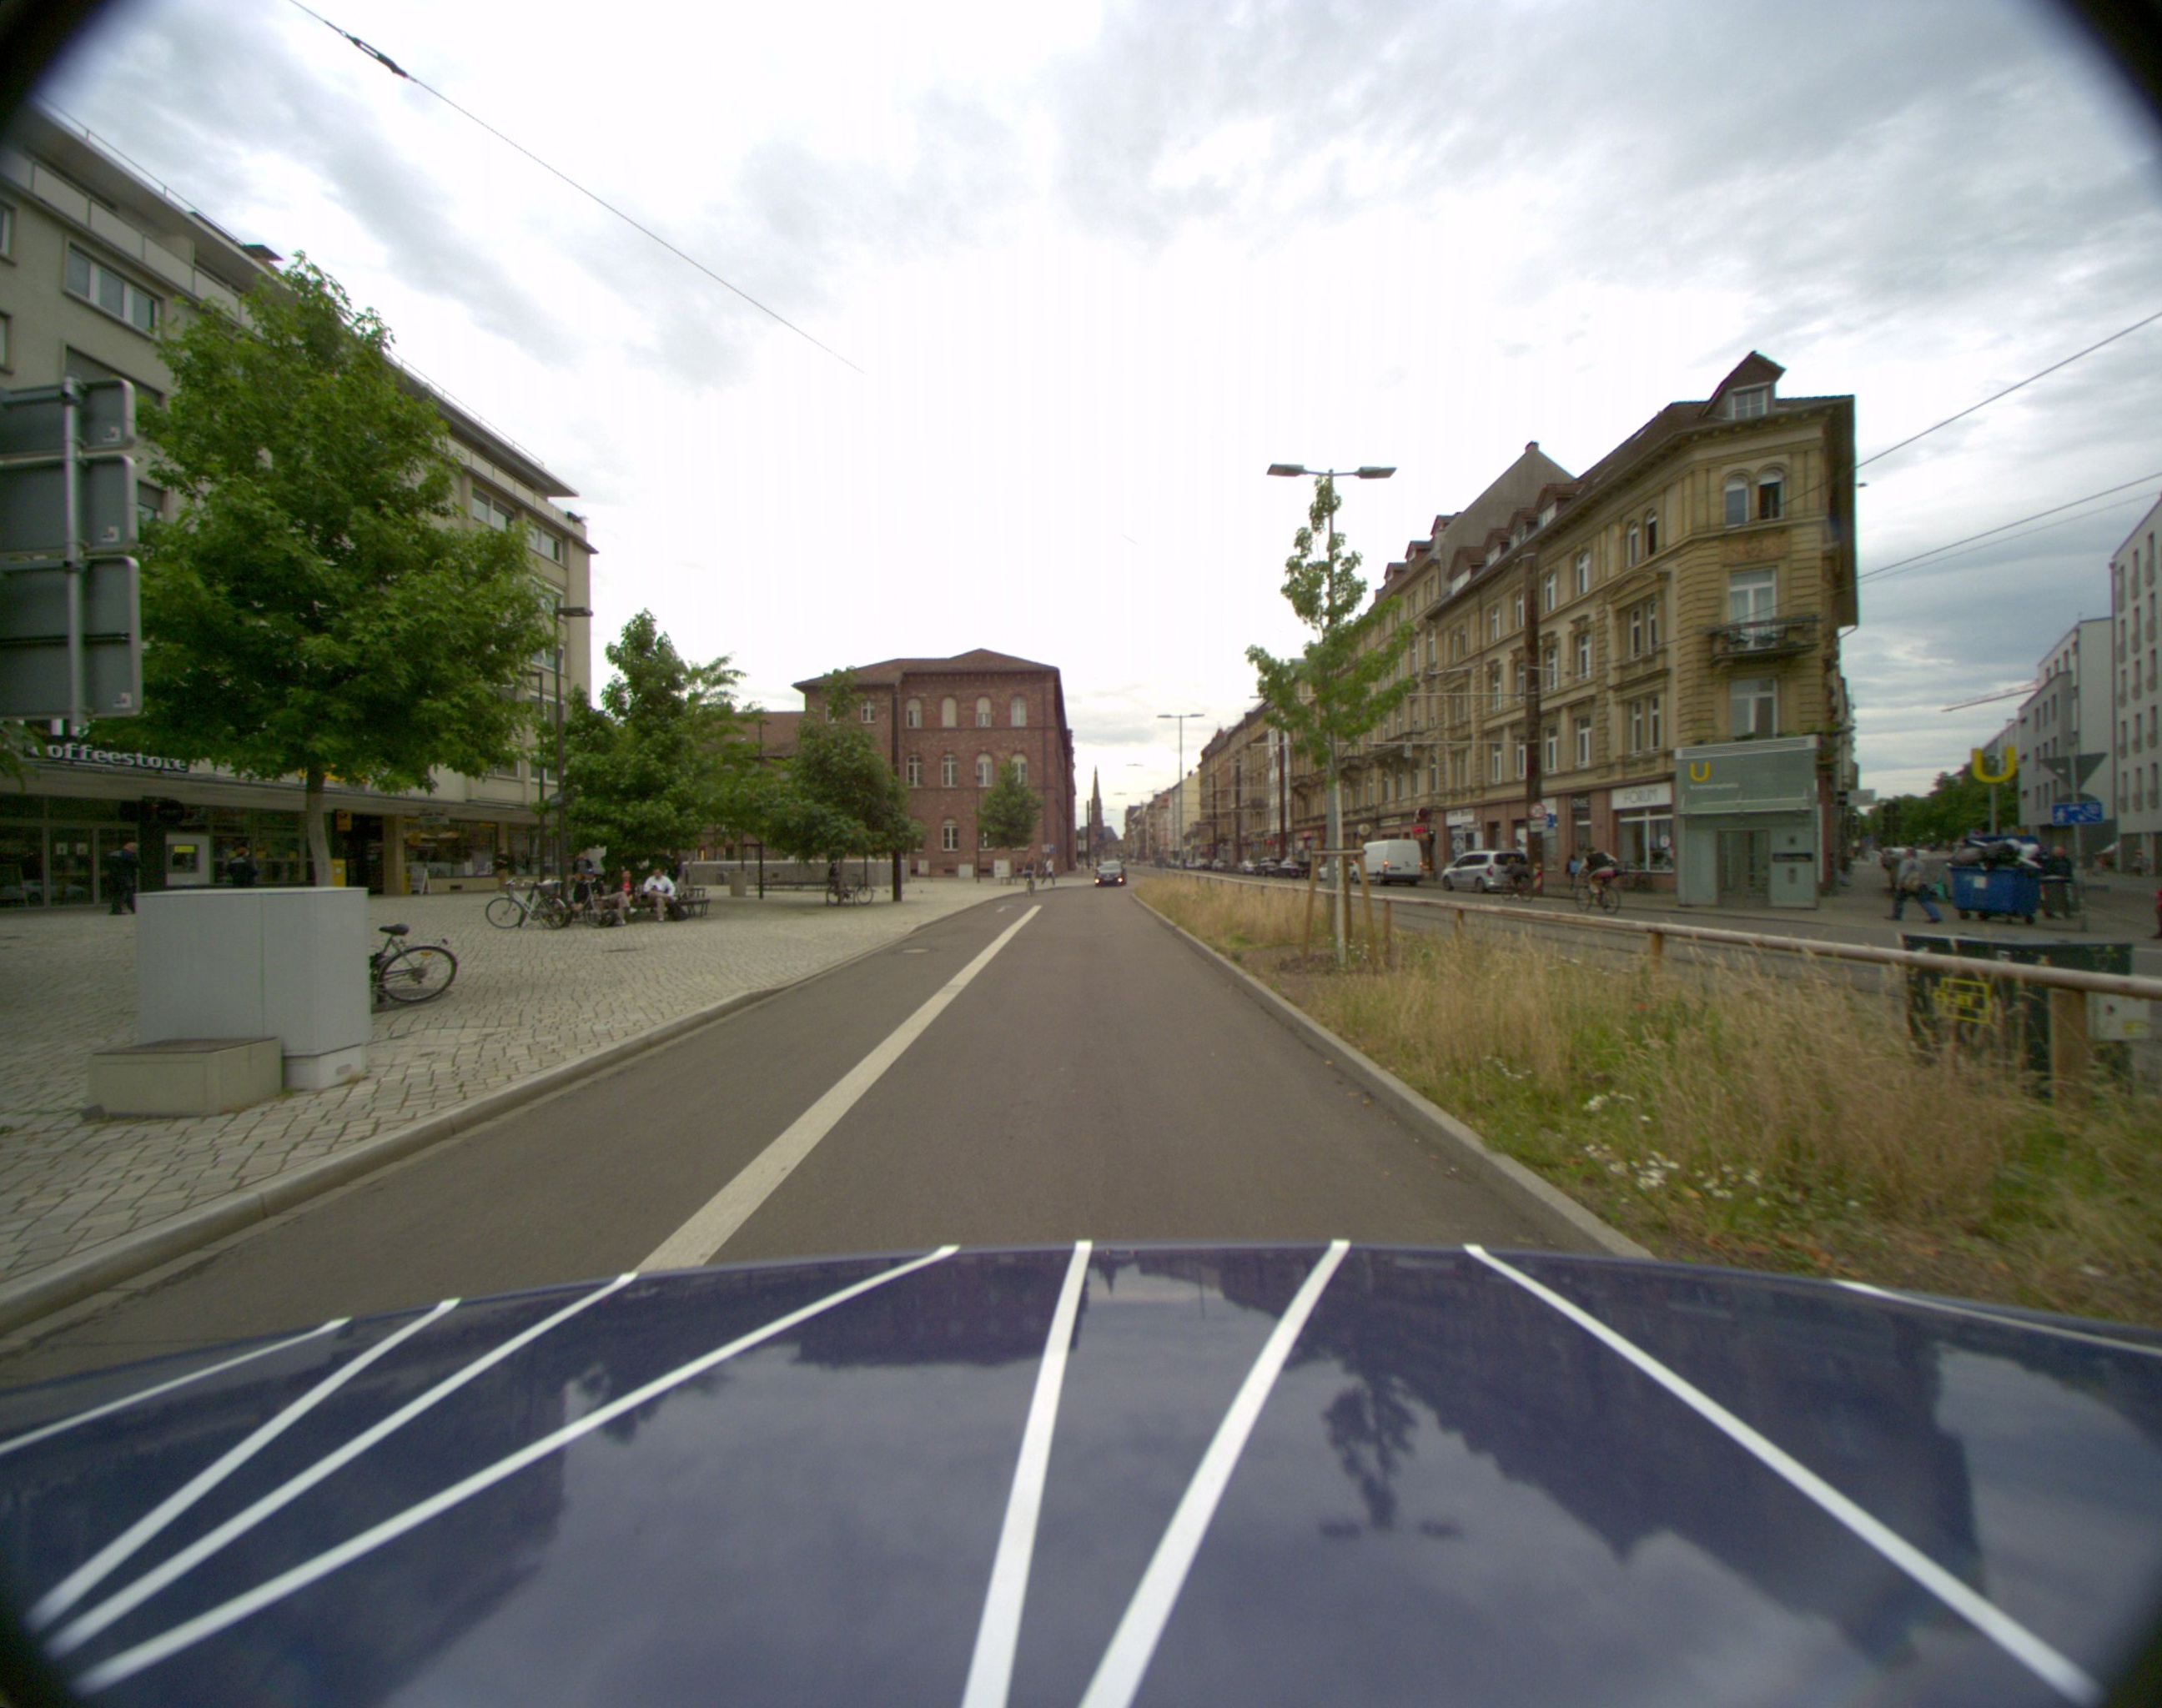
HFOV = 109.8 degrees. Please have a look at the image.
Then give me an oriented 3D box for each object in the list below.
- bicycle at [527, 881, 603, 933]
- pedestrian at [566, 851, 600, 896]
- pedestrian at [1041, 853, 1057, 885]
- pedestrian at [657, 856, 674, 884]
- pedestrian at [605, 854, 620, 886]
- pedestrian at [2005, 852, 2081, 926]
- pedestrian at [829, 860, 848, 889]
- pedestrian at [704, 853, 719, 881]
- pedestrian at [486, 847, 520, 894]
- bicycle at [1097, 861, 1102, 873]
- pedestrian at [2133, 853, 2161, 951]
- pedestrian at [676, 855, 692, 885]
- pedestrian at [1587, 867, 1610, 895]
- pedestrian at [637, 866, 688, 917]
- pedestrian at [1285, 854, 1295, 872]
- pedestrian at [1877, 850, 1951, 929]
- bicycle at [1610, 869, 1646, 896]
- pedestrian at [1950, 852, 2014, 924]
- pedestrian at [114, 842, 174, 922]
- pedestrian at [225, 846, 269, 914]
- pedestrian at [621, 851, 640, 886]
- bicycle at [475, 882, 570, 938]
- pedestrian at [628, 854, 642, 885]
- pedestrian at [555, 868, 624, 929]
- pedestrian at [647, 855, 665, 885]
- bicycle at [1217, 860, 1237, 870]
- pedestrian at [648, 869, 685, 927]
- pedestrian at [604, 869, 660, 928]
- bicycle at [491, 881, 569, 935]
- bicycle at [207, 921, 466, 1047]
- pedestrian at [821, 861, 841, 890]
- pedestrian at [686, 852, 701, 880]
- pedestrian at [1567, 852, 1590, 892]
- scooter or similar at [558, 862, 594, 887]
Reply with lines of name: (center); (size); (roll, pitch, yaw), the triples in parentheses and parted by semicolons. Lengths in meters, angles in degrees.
bicycle: (-11.551, 1.169, 17.007); (1.602, 1.104, 0.478); (1, 0, 15)
pedestrian: (-19.774, 0.767, 30.208); (0.773, 1.762, 1.066); (1, 0, -10)
pedestrian: (-1.879, 0.870, 44.195); (0.871, 1.890, 0.773); (1, 0, -1)
pedestrian: (-24.293, 0.932, 44.430); (0.642, 1.660, 0.593); (0, -1, 21)
pedestrian: (-23.565, 0.790, 38.216); (0.593, 1.576, 0.642); (0, -1, -32)
pedestrian: (22.602, 0.791, 17.876); (0.661, 1.677, 0.924); (0, 2, 16)
pedestrian: (-12.645, 1.056, 39.579); (0.781, 1.447, 0.766); (2, 0, -29)
pedestrian: (-22.246, 0.788, 45.760); (0.513, 1.660, 0.593); (0, -1, 21)
pedestrian: (-23.428, 0.659, 30.803); (0.773, 1.890, 1.065); (1, 0, -17)
bicycle: (1.933, 1.331, 78.865); (0.472, 1.151, 2.273); (-1, 0, 0)
pedestrian: (19.108, 0.834, 13.218); (0.723, 1.677, 0.661); (-1, 2, -10)
pedestrian: (-22.817, 0.918, 43.642); (0.513, 1.660, 0.593); (0, -1, 22)
pedestrian: (19.697, 1.024, 28.943); (0.554, 1.025, 0.453); (-2, 0, 9)
pedestrian: (-11.979, 1.055, 21.800); (0.629, 1.358, 1.409); (-2, 0, -1)
pedestrian: (20.284, 0.887, 73.843); (0.653, 1.772, 0.787); (-1, 1, 37)
pedestrian: (18.372, 0.756, 16.779); (0.823, 1.677, 0.723); (0, 2, 18)
bicycle: (20.608, 1.047, 28.664); (0.340, 0.953, 1.688); (-2, 0, 7)
pedestrian: (21.504, 0.791, 18.158); (0.661, 1.677, 0.723); (0, 2, 16)
pedestrian: (-22.753, 0.672, 18.455); (0.774, 1.874, 0.854); (-1, 1, 39)
pedestrian: (-22.008, 0.664, 20.052); (0.773, 1.741, 0.719); (2, 0, 39)
pedestrian: (-23.064, 0.754, 38.862); (0.590, 1.757, 0.645); (-1, -1, 36)
bicycle: (-11.808, 1.167, 16.060); (2.037, 1.104, 0.478); (0, 0, 16)
pedestrian: (-22.803, 0.789, 38.849); (0.593, 1.576, 0.642); (0, -1, -32)
pedestrian: (-11.605, 1.038, 17.973); (0.543, 1.358, 1.282); (-2, 0, 18)
pedestrian: (-24.261, 0.922, 43.360); (0.642, 1.660, 0.592); (0, -1, 16)
bicycle: (17.503, 1.343, 91.016); (2.288, 1.196, 0.547); (-1, 0, 1)
pedestrian: (-10.088, 1.049, 18.518); (0.630, 1.358, 0.686); (-2, 0, -18)
pedestrian: (-10.757, 1.055, 18.211); (0.628, 1.358, 0.920); (-2, 0, 18)
bicycle: (-12.054, 1.175, 16.629); (1.602, 1.104, 0.478); (1, 0, 15)
bicycle: (-7.468, 1.246, 7.729); (0.658, 0.972, 1.758); (0, 0, 29)
pedestrian: (-12.682, 1.072, 38.571); (0.781, 1.447, 0.766); (2, 0, -29)
pedestrian: (-24.745, 0.769, 48.523); (0.664, 1.747, 0.631); (-2, 0, -9)
pedestrian: (19.163, 0.687, 29.284); (0.554, 1.547, 0.658); (-2, 0, 18)
scooter or similar: (-25.116, 1.009, 37.818); (0.500, 1.197, 1.439); (2, 1, 25)
